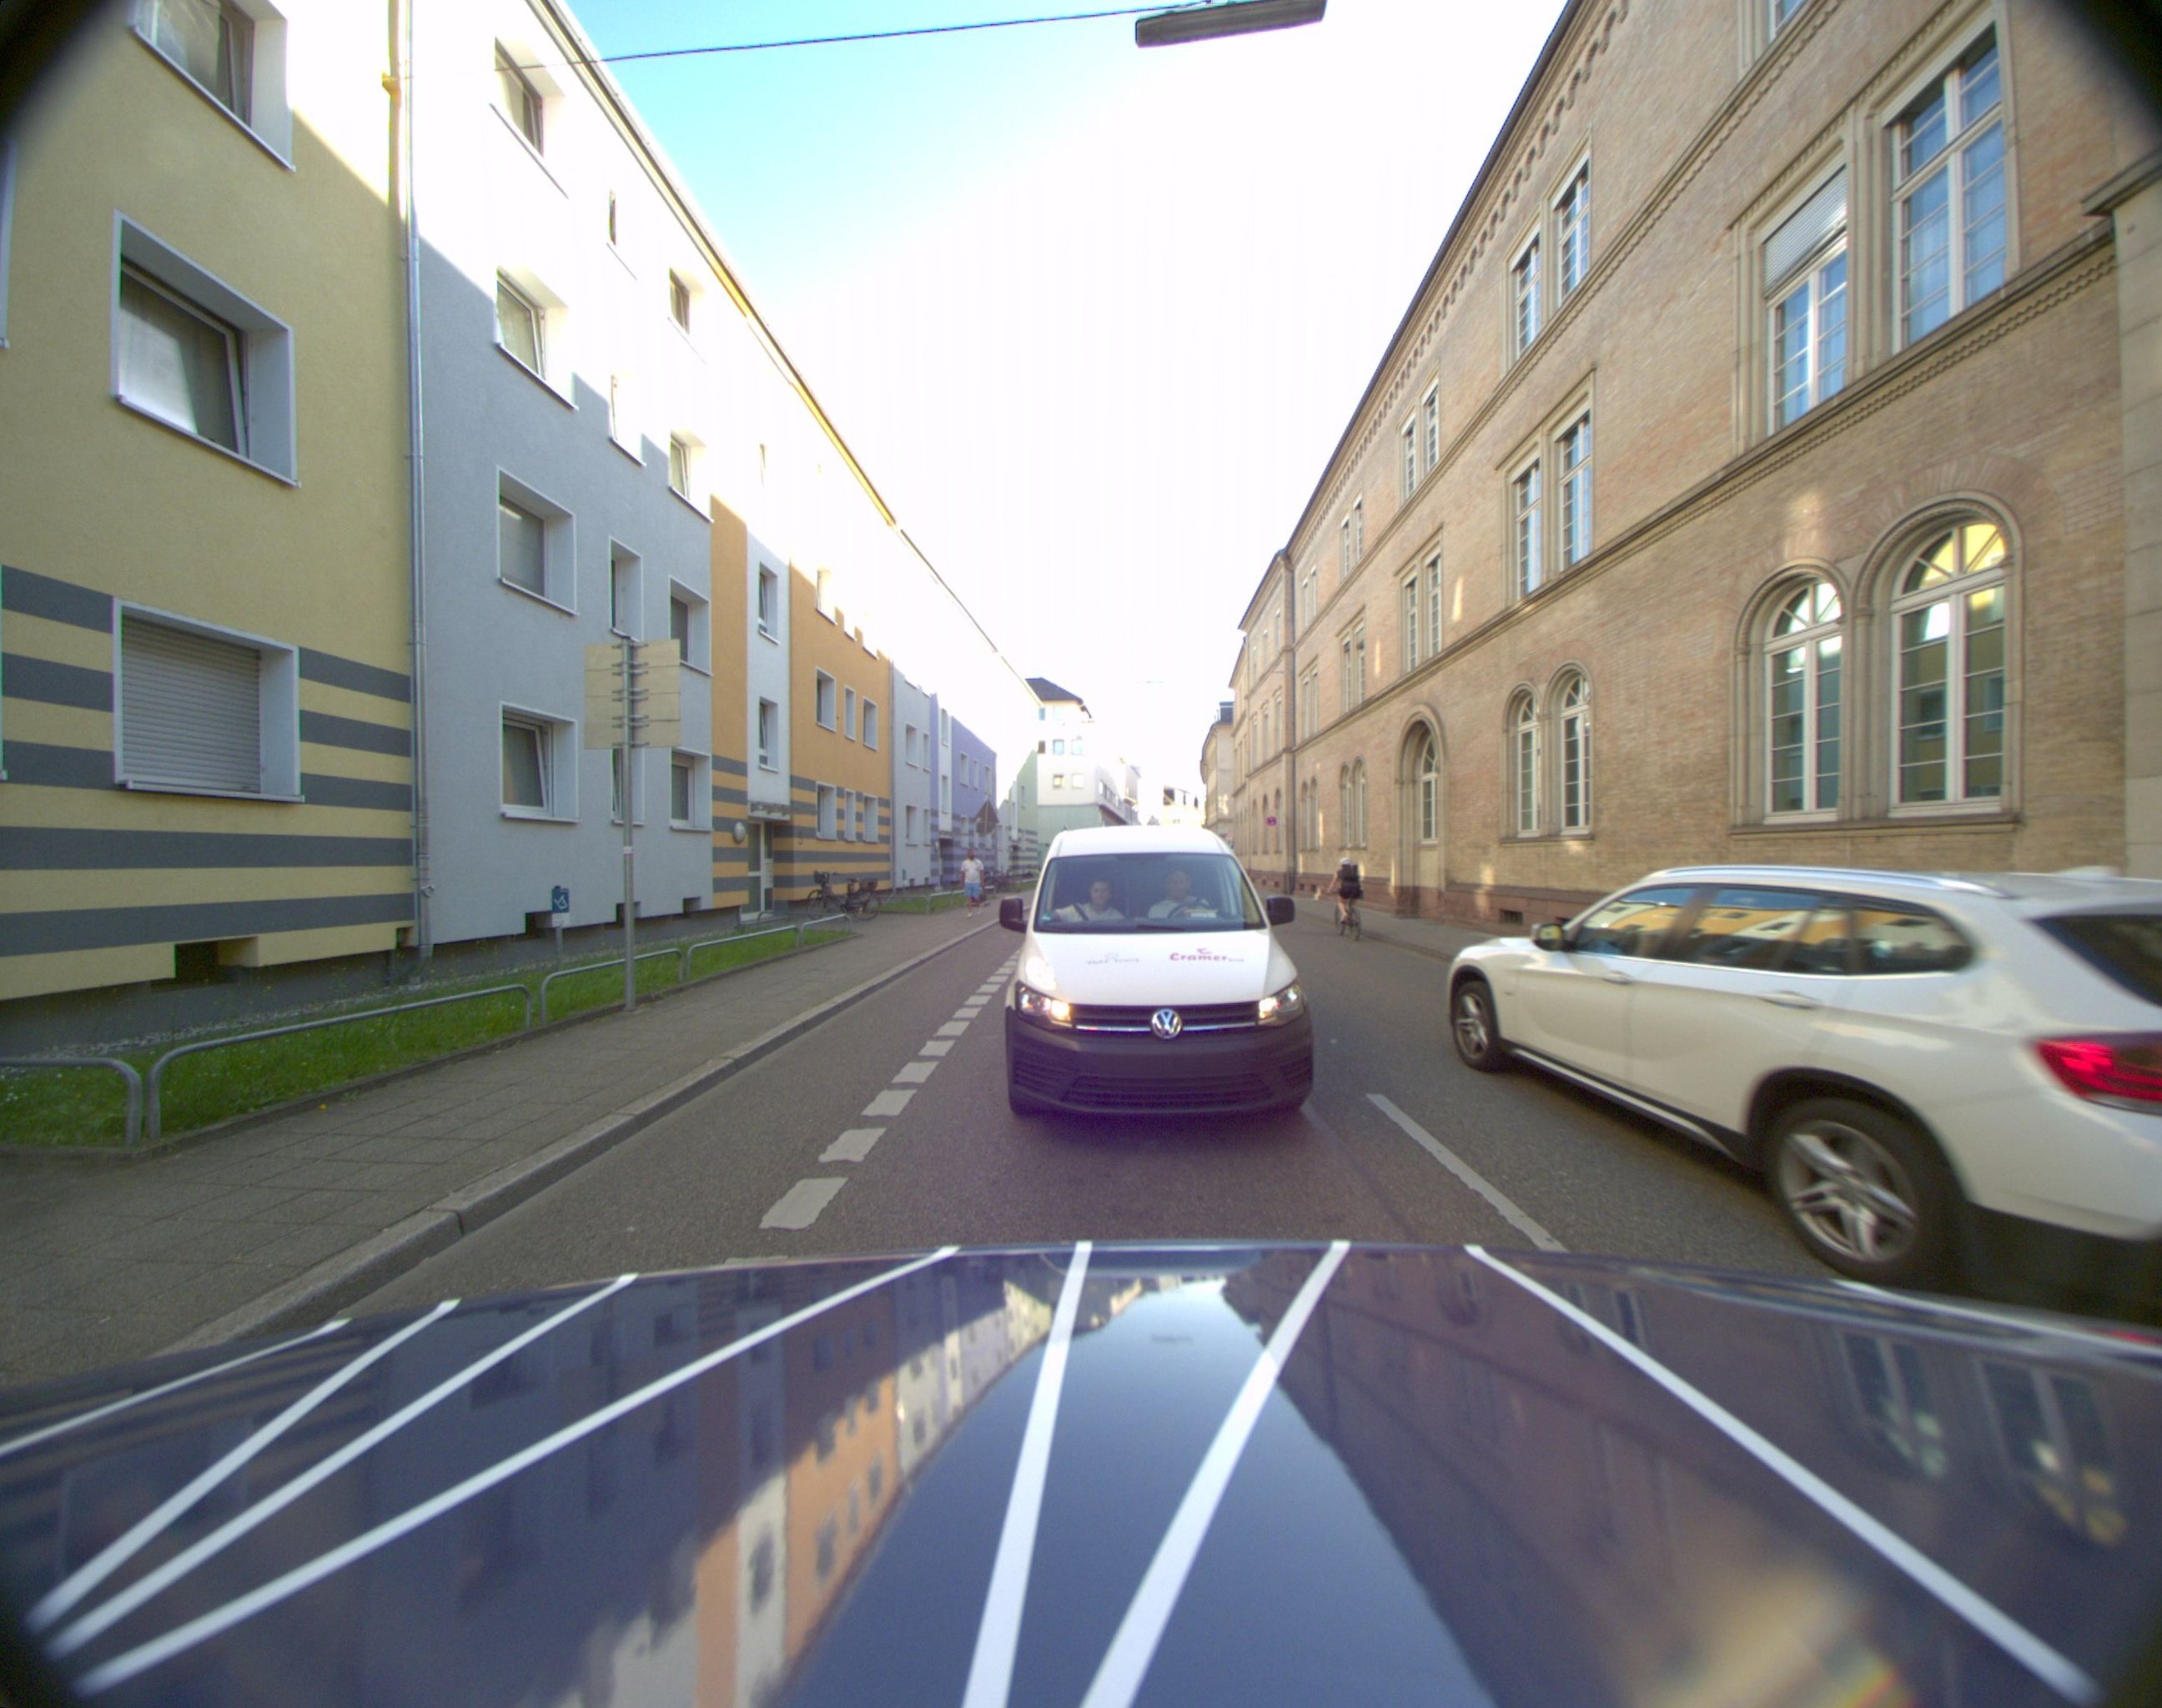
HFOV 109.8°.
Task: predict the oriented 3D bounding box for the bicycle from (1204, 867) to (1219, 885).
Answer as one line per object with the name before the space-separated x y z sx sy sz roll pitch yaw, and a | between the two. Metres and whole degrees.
bicycle | 7.758 1.314 45.151 0.651 1.001 1.876 2 0 5

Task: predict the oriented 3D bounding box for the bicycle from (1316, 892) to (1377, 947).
bicycle | 5.263 1.275 15.175 0.687 0.919 1.767 2 0 4

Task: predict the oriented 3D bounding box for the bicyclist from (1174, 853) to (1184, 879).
bicyclist | 6.079 0.738 47.050 0.546 1.524 0.870 2 0 9

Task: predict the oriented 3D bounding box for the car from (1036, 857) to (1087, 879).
car | -1.590 1.152 63.499 3.995 1.681 1.901 -2 1 5

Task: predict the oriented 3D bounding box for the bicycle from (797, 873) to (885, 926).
bicycle | -5.392 1.019 17.125 1.776 1.118 0.583 1 1 -1

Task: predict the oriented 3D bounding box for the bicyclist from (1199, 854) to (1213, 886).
bicyclist | 6.340 0.790 38.509 0.651 1.558 0.961 2 0 10

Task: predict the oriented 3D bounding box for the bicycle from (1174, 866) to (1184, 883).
bicycle | 6.045 1.242 46.915 0.546 1.001 1.758 2 0 9

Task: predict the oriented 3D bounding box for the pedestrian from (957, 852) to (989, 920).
pedestrian | -2.713 0.797 19.170 0.644 1.662 0.834 1 0 3

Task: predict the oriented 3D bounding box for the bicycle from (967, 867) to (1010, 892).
bicycle | -4.047 1.109 33.224 1.775 0.990 0.584 1 1 7

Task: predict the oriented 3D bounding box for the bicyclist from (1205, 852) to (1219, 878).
bicyclist | 7.767 0.622 45.153 0.651 1.500 1.111 2 0 4

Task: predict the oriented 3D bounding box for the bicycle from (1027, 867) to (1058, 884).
bicycle | -2.312 1.291 46.095 1.775 0.934 0.584 1 1 7

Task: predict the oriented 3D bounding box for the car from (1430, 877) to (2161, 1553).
car | 3.617 0.996 3.915 1.689 1.573 4.275 2 0 1

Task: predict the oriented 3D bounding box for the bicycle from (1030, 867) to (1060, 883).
bicycle | -2.232 1.322 47.633 1.775 0.934 0.584 1 1 7

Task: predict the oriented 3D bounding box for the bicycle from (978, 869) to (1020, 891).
bicycle | -3.657 1.147 33.840 1.775 0.934 0.584 1 1 7

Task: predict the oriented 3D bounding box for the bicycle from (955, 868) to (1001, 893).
bicycle | -4.323 1.119 31.882 1.775 0.990 0.584 1 1 7

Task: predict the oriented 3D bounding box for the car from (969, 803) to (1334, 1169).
car | 0.389 0.672 6.479 1.819 1.825 5.341 0 0 1

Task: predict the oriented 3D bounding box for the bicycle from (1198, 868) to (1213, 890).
bicycle | 6.318 1.253 38.523 0.651 1.001 1.808 2 0 10

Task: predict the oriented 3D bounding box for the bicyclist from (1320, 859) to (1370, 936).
bicyclist | 5.256 0.851 15.155 0.687 1.467 0.871 2 0 4
